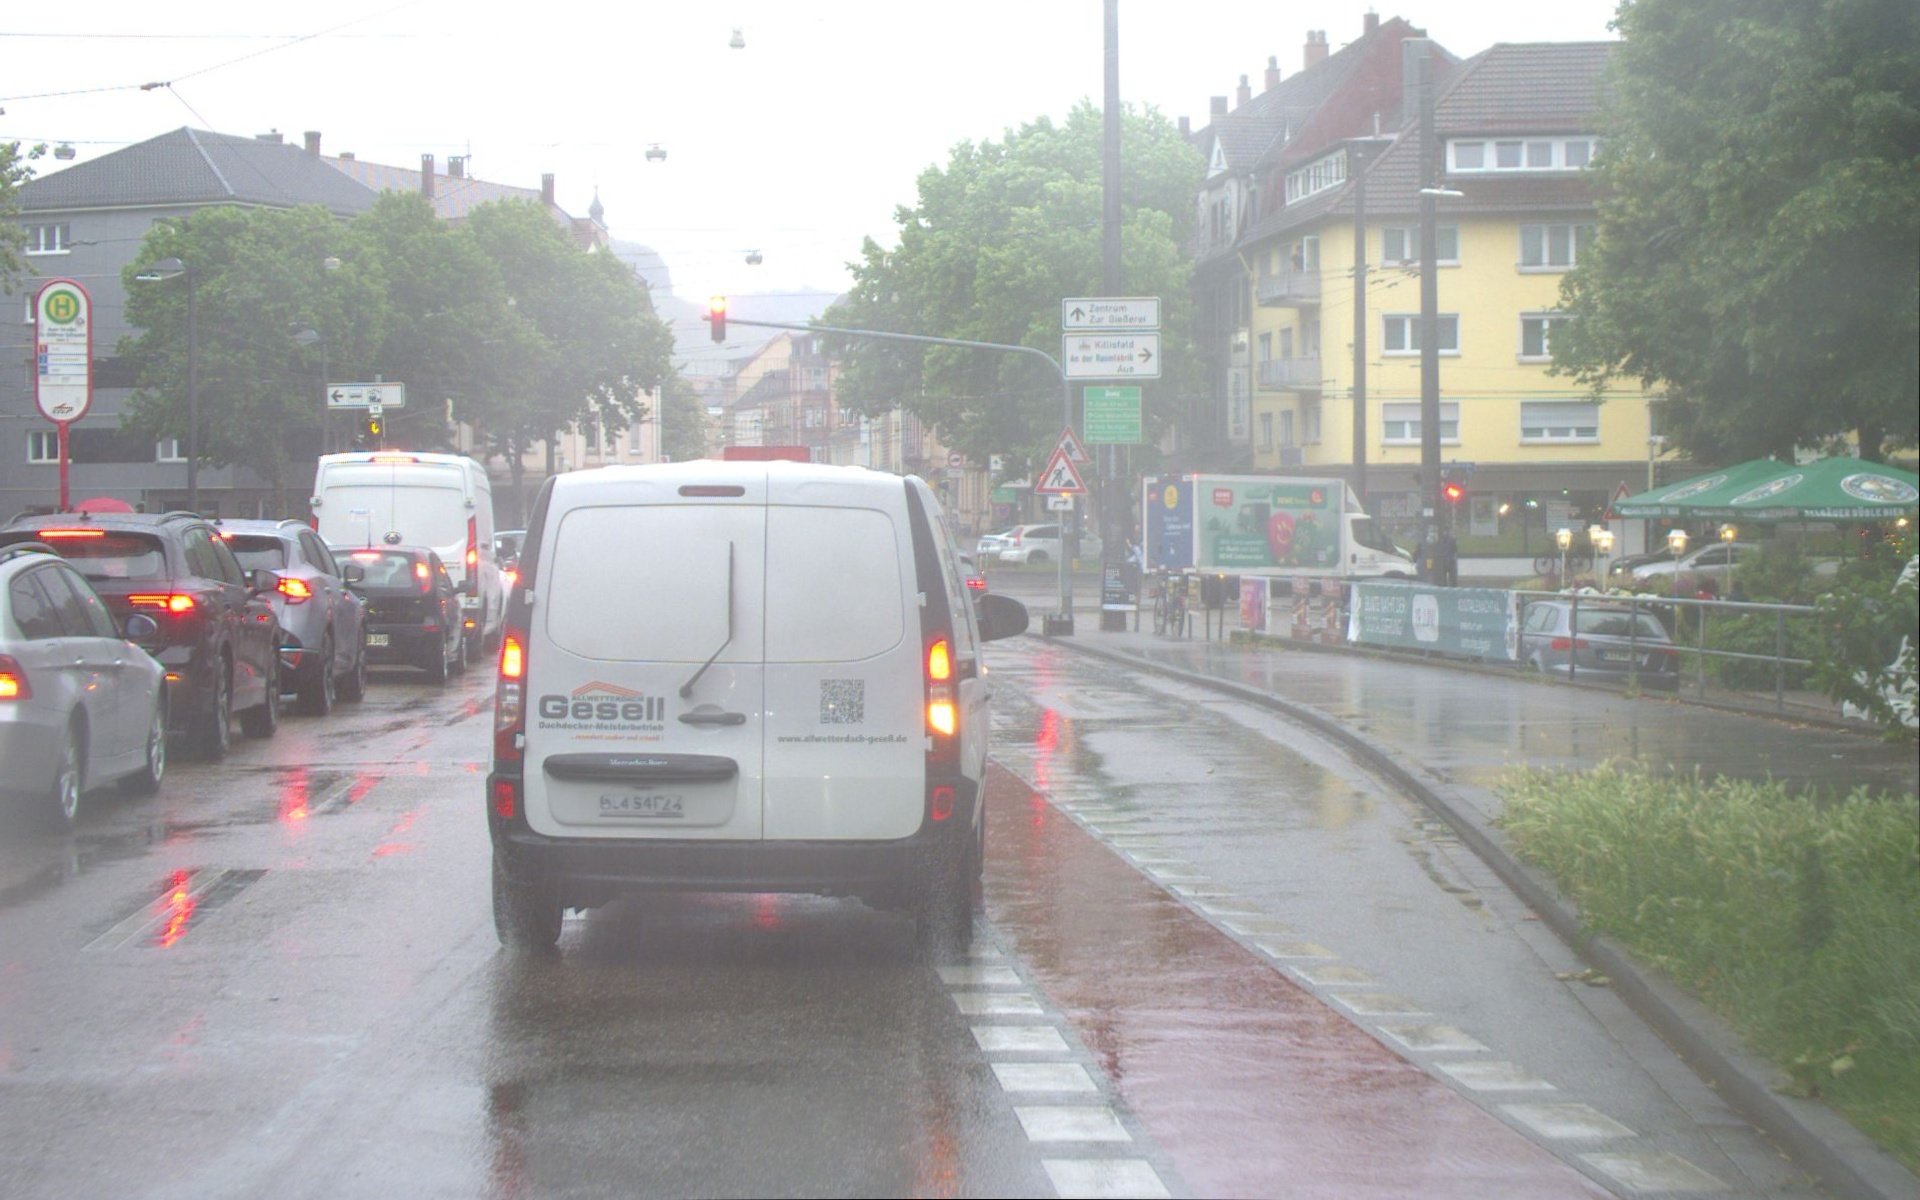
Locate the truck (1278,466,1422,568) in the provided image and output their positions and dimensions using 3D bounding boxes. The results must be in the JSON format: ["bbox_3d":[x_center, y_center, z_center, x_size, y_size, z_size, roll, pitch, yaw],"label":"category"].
[{"bbox_3d":[9.038,-1.907,79.708,2.640,2.291,2.000,1,0,-31],"label":"truck"}]

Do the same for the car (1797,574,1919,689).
[{"bbox_3d":[13.997,0.421,49.910,1.889,1.473,3.990,0,3,42],"label":"car"}]

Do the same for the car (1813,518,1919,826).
[{"bbox_3d":[9.102,0.610,28.174,2.179,2.523,5.779,-1,2,-7],"label":"car"}]

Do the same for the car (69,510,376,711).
[{"bbox_3d":[-6.326,0.061,29.947,1.993,1.573,4.293,2,1,-4],"label":"car"}]

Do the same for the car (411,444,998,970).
[{"bbox_3d":[-0.854,0.362,13.500,1.959,1.771,3.569,1,0,1],"label":"car"}]

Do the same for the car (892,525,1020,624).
[{"bbox_3d":[-0.062,-0.435,55.570,1.993,1.536,4.000,0,1,0],"label":"car"}]

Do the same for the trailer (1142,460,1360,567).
[{"bbox_3d":[6.641,-1.935,78.287,4.653,2.309,2.000,1,0,-31],"label":"trailer"}]

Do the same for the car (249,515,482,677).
[{"bbox_3d":[-6.269,-0.070,36.695,1.993,1.573,4.293,2,1,-4],"label":"car"}]

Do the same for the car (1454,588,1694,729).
[{"bbox_3d":[7.519,0.674,42.487,1.822,1.485,4.354,-1,2,-5],"label":"car"}]

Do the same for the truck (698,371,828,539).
[{"bbox_3d":[-6.215,-4.441,106.594,3.277,4.882,11.404,-1,2,-6],"label":"truck"}]

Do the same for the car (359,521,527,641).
[{"bbox_3d":[-7.397,-0.291,49.556,1.993,1.591,4.613,2,1,-4],"label":"car"}]

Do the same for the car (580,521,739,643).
[{"bbox_3d":[-3.787,-0.230,43.791,1.760,1.464,3.533,1,0,-1],"label":"car"}]

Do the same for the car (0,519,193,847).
[{"bbox_3d":[-5.406,0.328,18.174,1.993,1.467,4.267,2,2,-4],"label":"car"}]

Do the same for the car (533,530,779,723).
[{"bbox_3d":[-2.438,0.195,28.278,1.760,1.464,3.533,1,0,-1],"label":"car"}]

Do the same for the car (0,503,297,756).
[{"bbox_3d":[-5.910,0.152,23.940,1.993,1.573,4.293,2,1,-4],"label":"car"}]

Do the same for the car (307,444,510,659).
[{"bbox_3d":[-6.701,-0.587,42.194,1.993,2.434,4.613,2,1,-4],"label":"car"}]
